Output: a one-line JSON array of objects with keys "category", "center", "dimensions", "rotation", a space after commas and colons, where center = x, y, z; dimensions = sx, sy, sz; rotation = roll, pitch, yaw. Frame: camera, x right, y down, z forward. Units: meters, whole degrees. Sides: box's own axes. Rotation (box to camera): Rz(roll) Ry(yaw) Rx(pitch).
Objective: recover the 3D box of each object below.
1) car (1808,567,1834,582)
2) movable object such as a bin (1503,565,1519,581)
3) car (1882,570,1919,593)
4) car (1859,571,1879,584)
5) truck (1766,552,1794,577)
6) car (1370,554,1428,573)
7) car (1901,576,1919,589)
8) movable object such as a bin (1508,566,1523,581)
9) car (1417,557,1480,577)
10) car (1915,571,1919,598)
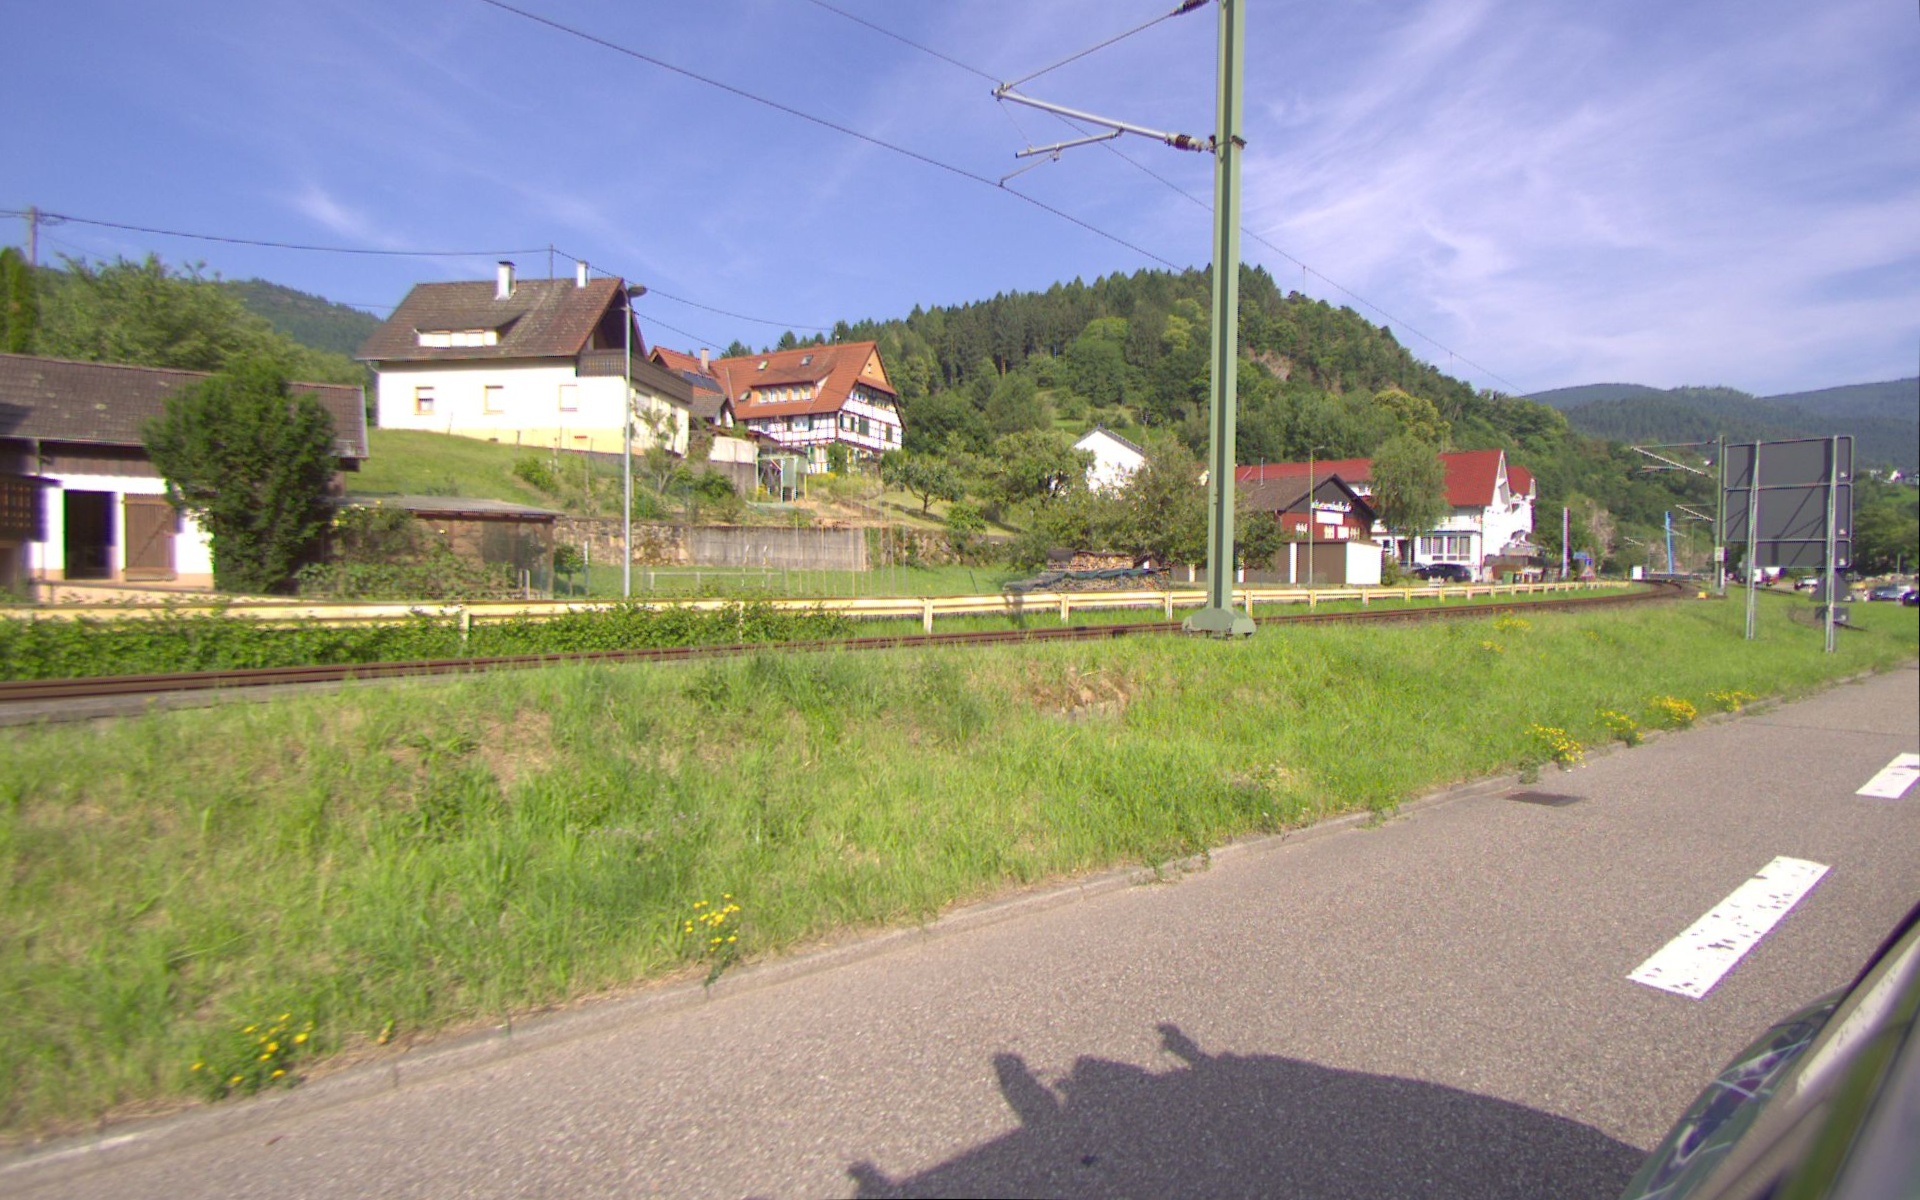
[{"category": "car", "center": [121.870, -3.596, 143.303], "dimensions": [1.984, 2.038, 3.957], "rotation": [3, 3, 31]}, {"category": "movable object such as a bin", "center": [39.403, -1.928, 72.318], "dimensions": [0.806, 1.064, 0.898], "rotation": [-1, 0, 41]}, {"category": "car", "center": [85.792, -1.702, 92.360], "dimensions": [1.989, 2.038, 3.948], "rotation": [4, 3, 37]}, {"category": "car", "center": [111.331, -2.746, 123.960], "dimensions": [1.721, 1.645, 3.741], "rotation": [-1, 0, 40]}, {"category": "truck", "center": [135.570, -5.887, 167.430], "dimensions": [2.742, 3.883, 14.375], "rotation": [-1, 1, 36]}, {"category": "car", "center": [36.661, -3.075, 84.548], "dimensions": [3.986, 1.392, 1.798], "rotation": [5, 4, 41]}, {"category": "car", "center": [100.754, -1.875, 106.773], "dimensions": [1.774, 1.365, 4.448], "rotation": [-2, 0, 39]}, {"category": "movable object such as a bin", "center": [40.136, -1.879, 73.101], "dimensions": [0.806, 1.064, 0.898], "rotation": [-1, 0, 41]}, {"category": "car", "center": [38.197, -2.586, 79.167], "dimensions": [3.989, 1.392, 1.797], "rotation": [5, 4, 44]}, {"category": "car", "center": [73.505, -1.140, 76.210], "dimensions": [1.993, 2.038, 3.941], "rotation": [4, 4, 41]}]
